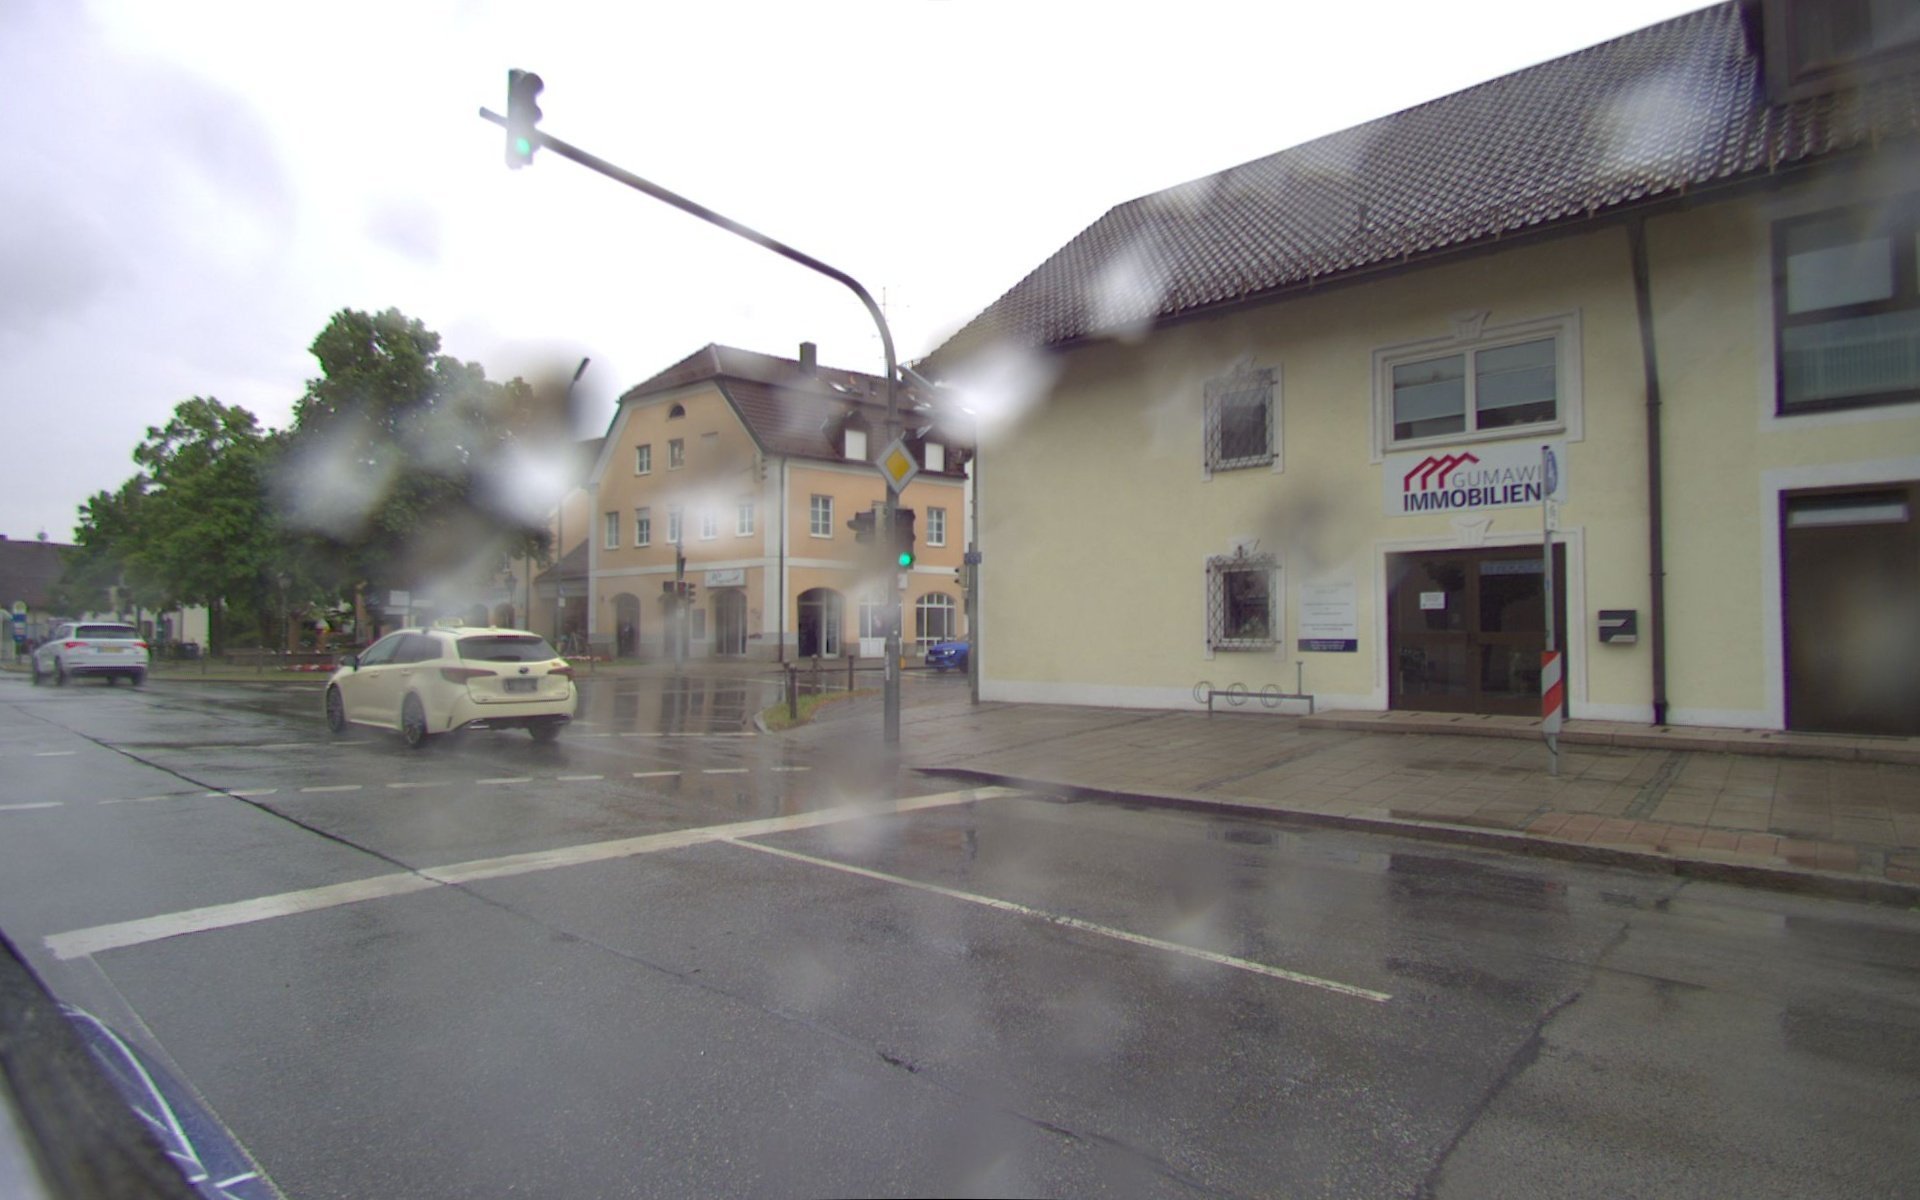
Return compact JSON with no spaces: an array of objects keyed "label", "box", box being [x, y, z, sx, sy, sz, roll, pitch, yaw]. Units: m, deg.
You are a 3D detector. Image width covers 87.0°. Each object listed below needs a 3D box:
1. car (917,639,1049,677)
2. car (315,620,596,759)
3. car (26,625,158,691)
[{"label":"car","box":[0.799,1.912,34.026,4.288,1.194,1.694,1,-2,-35]},{"label":"car","box":[-6.671,1.065,13.192,4.227,1.523,1.734,-1,-4,41]},{"label":"car","box":[-22.625,1.461,26.337,4.122,1.578,1.907,-1,-3,40]}]
